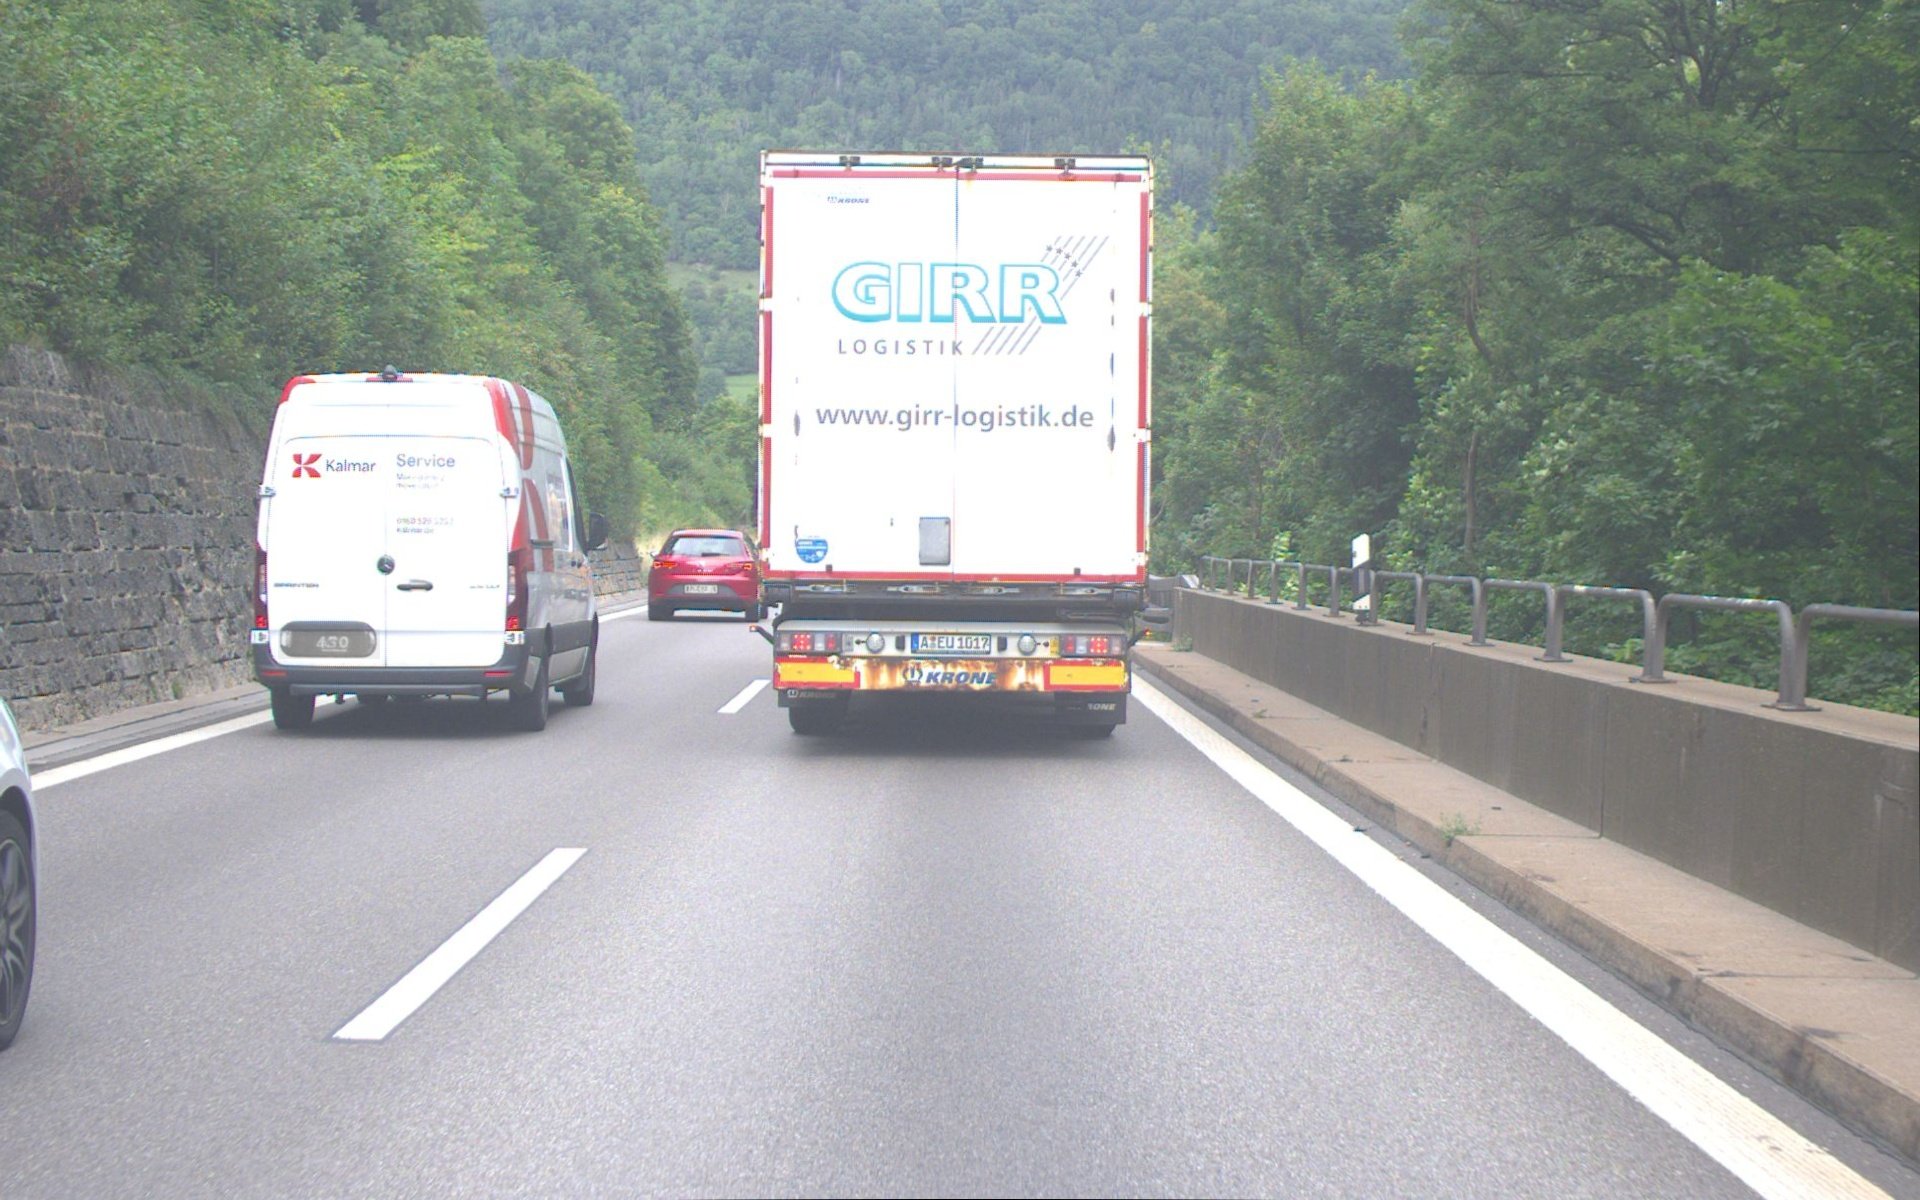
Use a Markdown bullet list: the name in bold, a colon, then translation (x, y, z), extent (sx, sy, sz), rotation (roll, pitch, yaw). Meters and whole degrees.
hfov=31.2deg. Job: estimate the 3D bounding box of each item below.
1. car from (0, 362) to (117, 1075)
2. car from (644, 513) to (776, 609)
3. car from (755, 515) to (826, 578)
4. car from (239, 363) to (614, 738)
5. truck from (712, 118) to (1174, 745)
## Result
- **car**: translation (-3.585, 0.355, 7.572), extent (1.993, 1.946, 6.148), rotation (1, 1, -1)
- **car**: translation (-3.930, -0.622, 54.582), extent (1.766, 1.455, 4.411), rotation (0, 1, 0)
- **car**: translation (-4.458, -1.416, 90.854), extent (1.669, 1.633, 4.068), rotation (0, 1, 0)
- **car**: translation (-3.997, -0.386, 26.878), extent (2.026, 2.576, 6.275), rotation (0, 1, -1)
- **truck**: translation (-0.071, -1.148, 26.401), extent (2.909, 3.947, 9.279), rotation (0, 1, 0)
